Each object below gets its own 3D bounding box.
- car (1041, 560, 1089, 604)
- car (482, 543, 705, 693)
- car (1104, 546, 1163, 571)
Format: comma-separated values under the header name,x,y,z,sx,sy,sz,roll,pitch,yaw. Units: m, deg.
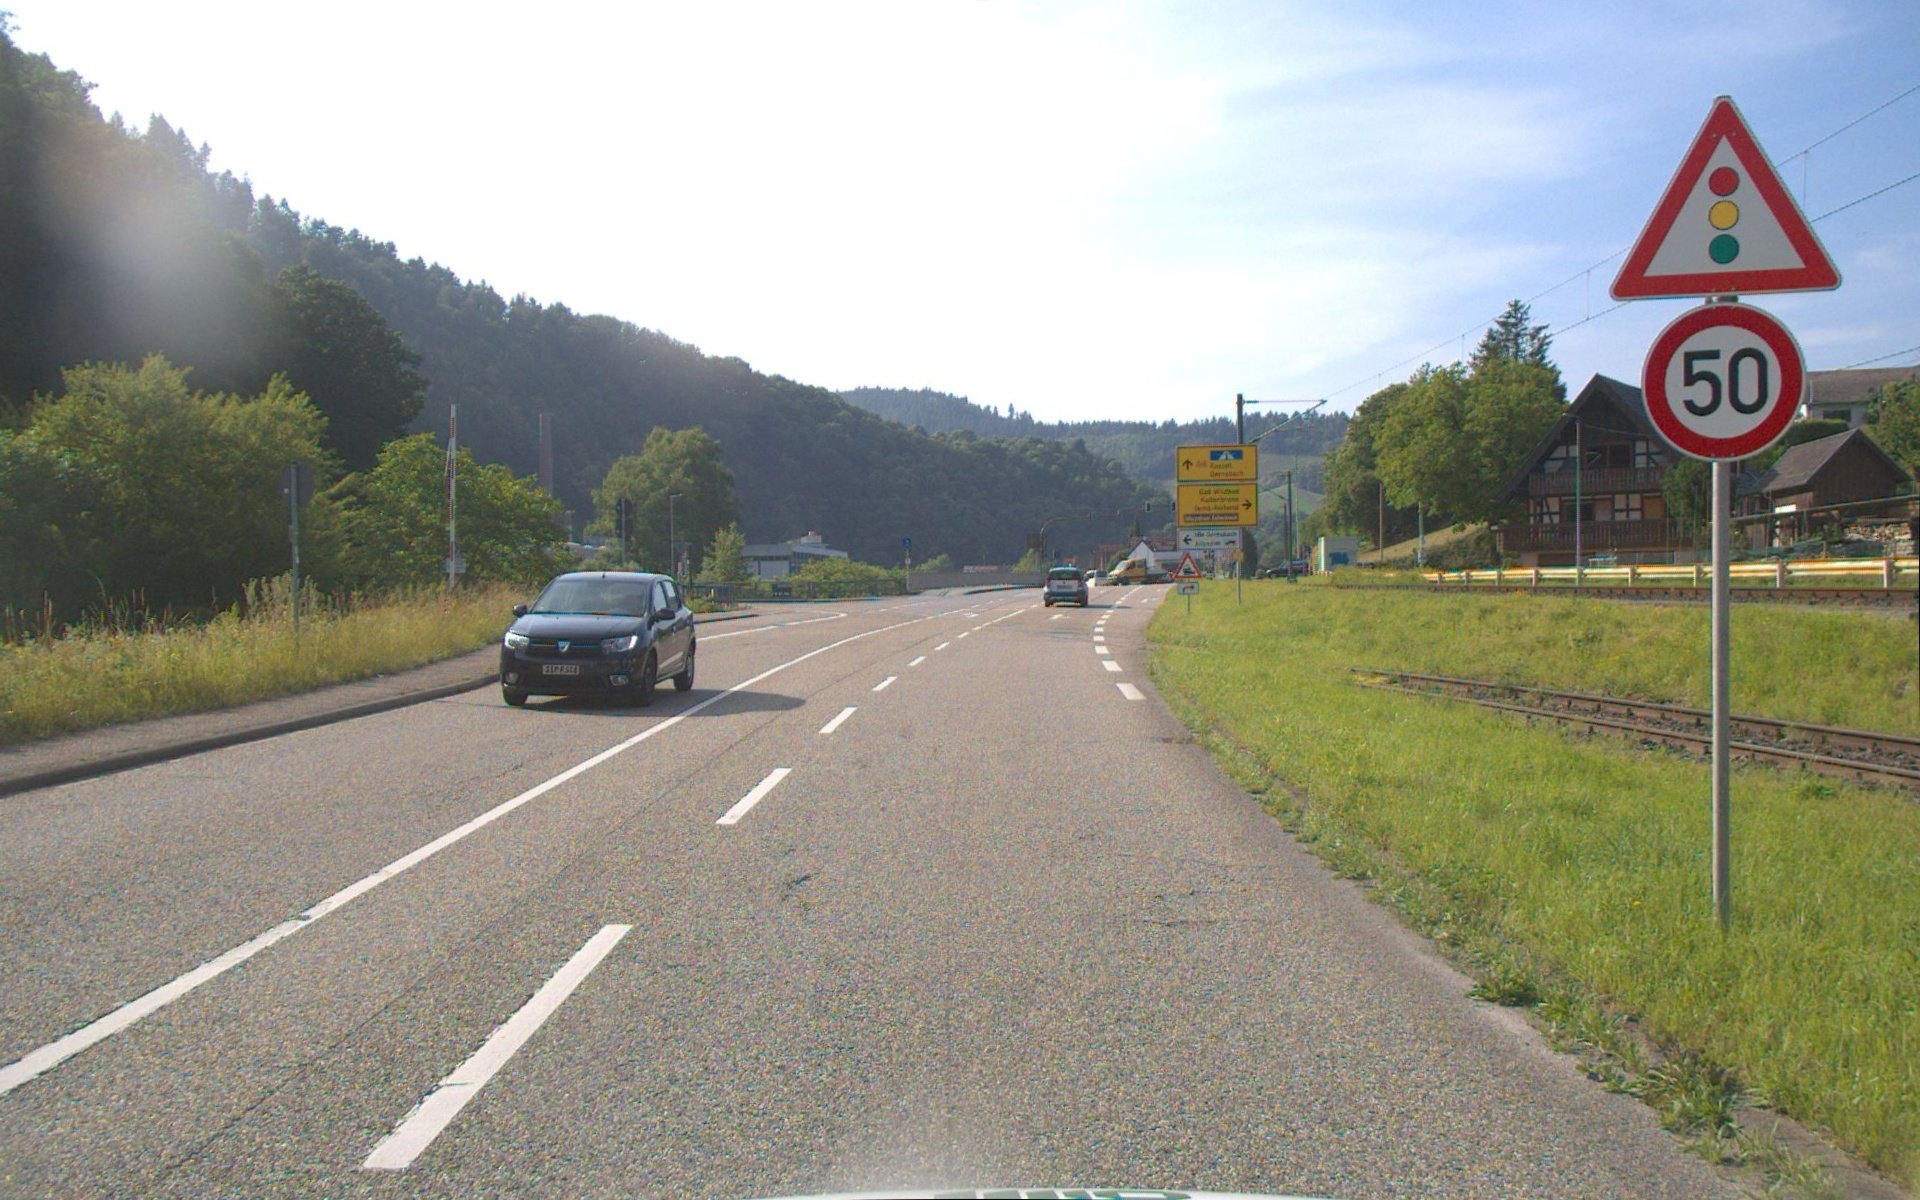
name,x,y,z,sx,sy,sz,roll,pitch,yaw
car,4.502,-0.768,71.215,1.952,1.753,3.992,-3,1,3
car,-4.338,0.159,20.249,1.809,1.612,4.316,1,1,-1
car,16.039,-3.839,153.089,5.220,2.048,1.981,-3,1,-29
